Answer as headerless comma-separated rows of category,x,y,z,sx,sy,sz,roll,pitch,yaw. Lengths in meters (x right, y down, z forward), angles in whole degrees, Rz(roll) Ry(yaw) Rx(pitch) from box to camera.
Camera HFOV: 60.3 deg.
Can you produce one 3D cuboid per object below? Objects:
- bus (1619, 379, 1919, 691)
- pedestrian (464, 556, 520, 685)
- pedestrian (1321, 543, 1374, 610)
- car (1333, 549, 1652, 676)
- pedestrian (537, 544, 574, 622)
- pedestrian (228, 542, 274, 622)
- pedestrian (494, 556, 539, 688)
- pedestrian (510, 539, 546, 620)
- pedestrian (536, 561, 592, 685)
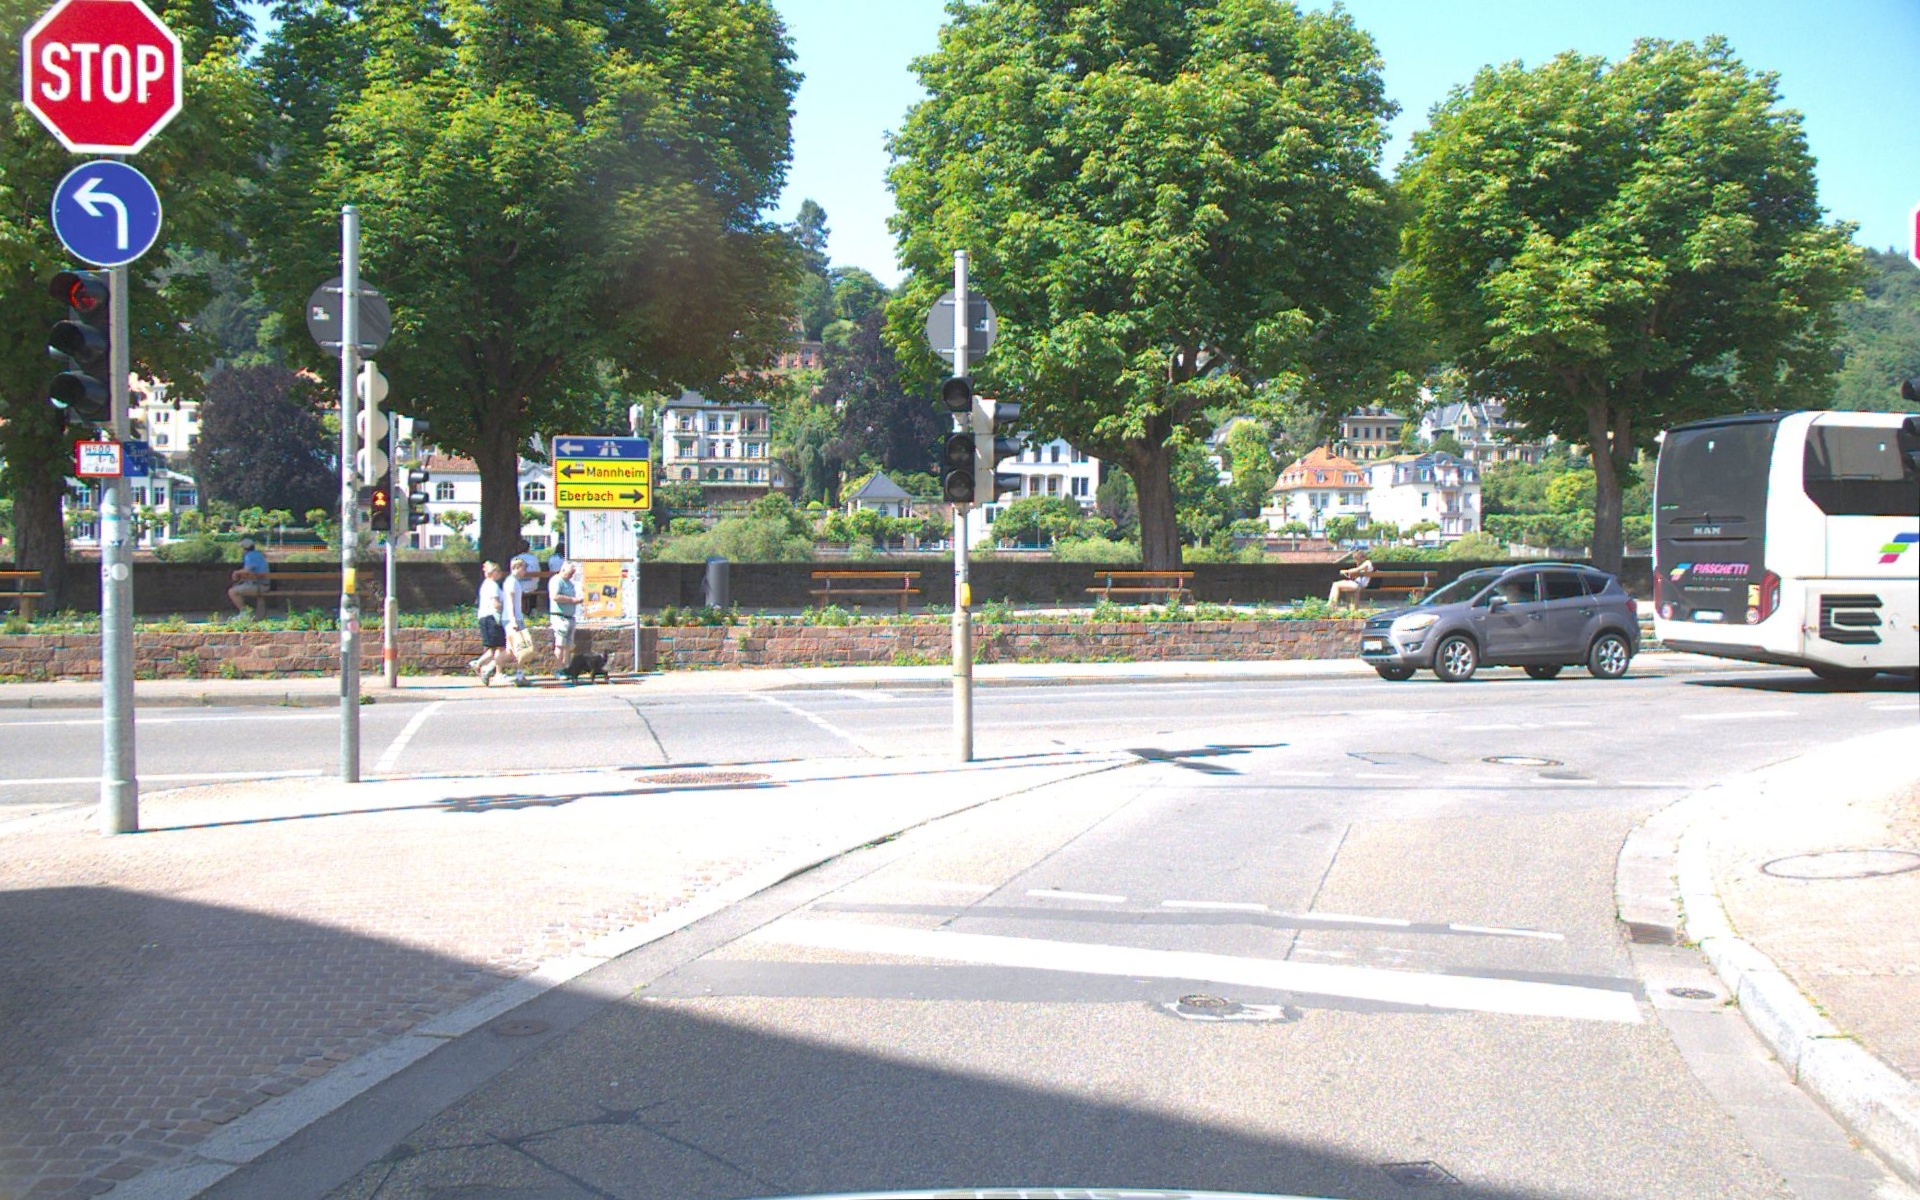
bus,15.365,-0.843,23.693,11.950,3.854,2.892,0,0,-18
pedestrian,-6.821,0.292,24.128,0.709,1.833,0.632,-1,-1,-13
pedestrian,7.546,-0.452,32.223,0.784,1.232,0.713,2,-3,-13
car,7.980,0.234,24.850,4.328,1.784,1.834,1,-3,-19
pedestrian,-6.848,-0.277,27.958,0.544,1.250,0.982,2,-3,-15
pedestrian,-11.216,-0.283,26.173,0.634,1.249,0.410,0,0,-29
pedestrian,-6.244,0.303,23.305,0.568,1.833,0.703,0,0,-13
pedestrian,-7.257,-0.331,27.784,0.544,1.302,0.701,2,-3,-15
pedestrian,-5.878,0.338,24.550,0.678,1.800,0.712,-1,-1,-22
